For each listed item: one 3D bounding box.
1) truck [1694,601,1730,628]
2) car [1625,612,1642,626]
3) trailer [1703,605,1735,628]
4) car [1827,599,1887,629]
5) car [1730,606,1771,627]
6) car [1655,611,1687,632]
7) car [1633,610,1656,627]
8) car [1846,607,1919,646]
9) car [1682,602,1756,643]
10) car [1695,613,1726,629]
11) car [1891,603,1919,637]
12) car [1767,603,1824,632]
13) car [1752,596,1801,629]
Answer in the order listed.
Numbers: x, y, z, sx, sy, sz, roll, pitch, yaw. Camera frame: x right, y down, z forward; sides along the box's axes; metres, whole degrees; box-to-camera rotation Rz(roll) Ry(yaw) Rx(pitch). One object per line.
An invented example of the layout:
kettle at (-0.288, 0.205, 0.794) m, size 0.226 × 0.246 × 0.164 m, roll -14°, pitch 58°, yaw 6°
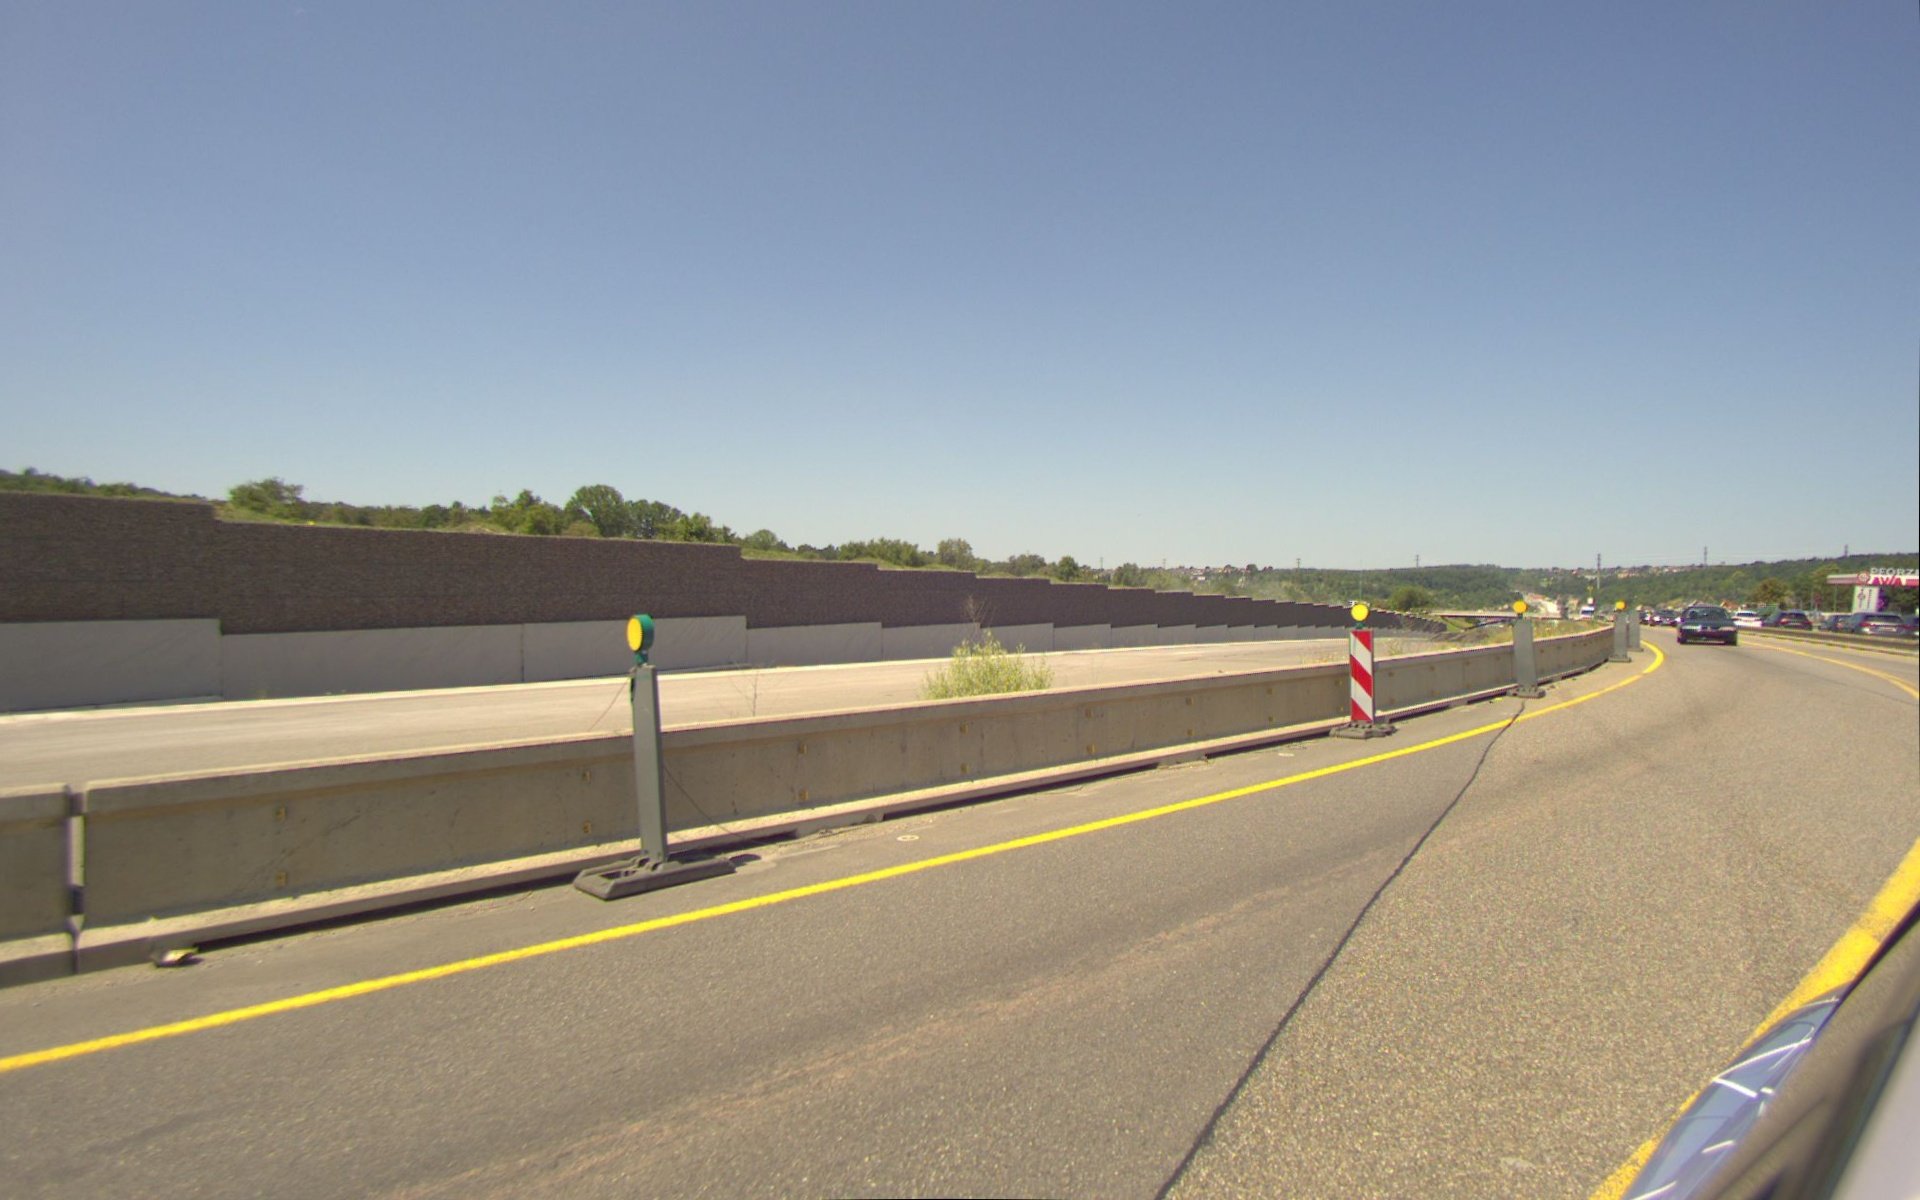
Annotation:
truck at (86.923, 1.679, 117.103) m, size 2.468 × 2.860 × 8.037 m, roll 2°, pitch 0°, yaw 31°
car at (98.364, 2.790, 147.821) m, size 1.844 × 1.863 × 4.540 m, roll 3°, pitch 0°, yaw 30°
trailer at (83.412, 1.836, 111.289) m, size 2.172 × 2.343 × 5.551 m, roll 2°, pitch 0°, yaw 31°
car at (51.004, 0.820, 57.636) m, size 1.758 × 1.618 × 3.956 m, roll -2°, pitch -1°, yaw 30°
car at (56.500, 1.179, 72.376) m, size 1.725 × 1.497 × 4.469 m, roll -2°, pitch -1°, yaw 31°
car at (58.135, 1.744, 82.785) m, size 1.804 × 1.683 × 3.955 m, roll -2°, pitch -1°, yaw 31°
car at (74.106, 1.997, 109.652) m, size 1.693 × 1.705 × 3.749 m, roll -1°, pitch -1°, yaw 29°
car at (38.219, 1.053, 41.885) m, size 1.582 × 1.459 × 4.079 m, roll 4°, pitch 1°, yaw 31°
car at (27.779, 0.838, 37.127) m, size 1.798 × 1.323 × 3.952 m, roll 3°, pitch 0°, yaw 32°
car at (68.684, 1.932, 92.703) m, size 1.807 × 1.394 × 4.200 m, roll -2°, pitch -1°, yaw 31°
car at (41.551, 0.819, 42.825) m, size 1.980 × 1.417 × 4.536 m, roll -1°, pitch -1°, yaw 27°
car at (47.555, 0.990, 57.656) m, size 1.766 × 1.445 × 4.716 m, roll 4°, pitch 1°, yaw 31°
car at (64.950, 1.064, 80.599) m, size 1.904 × 2.430 × 6.381 m, roll -4°, pitch -3°, yaw 30°
